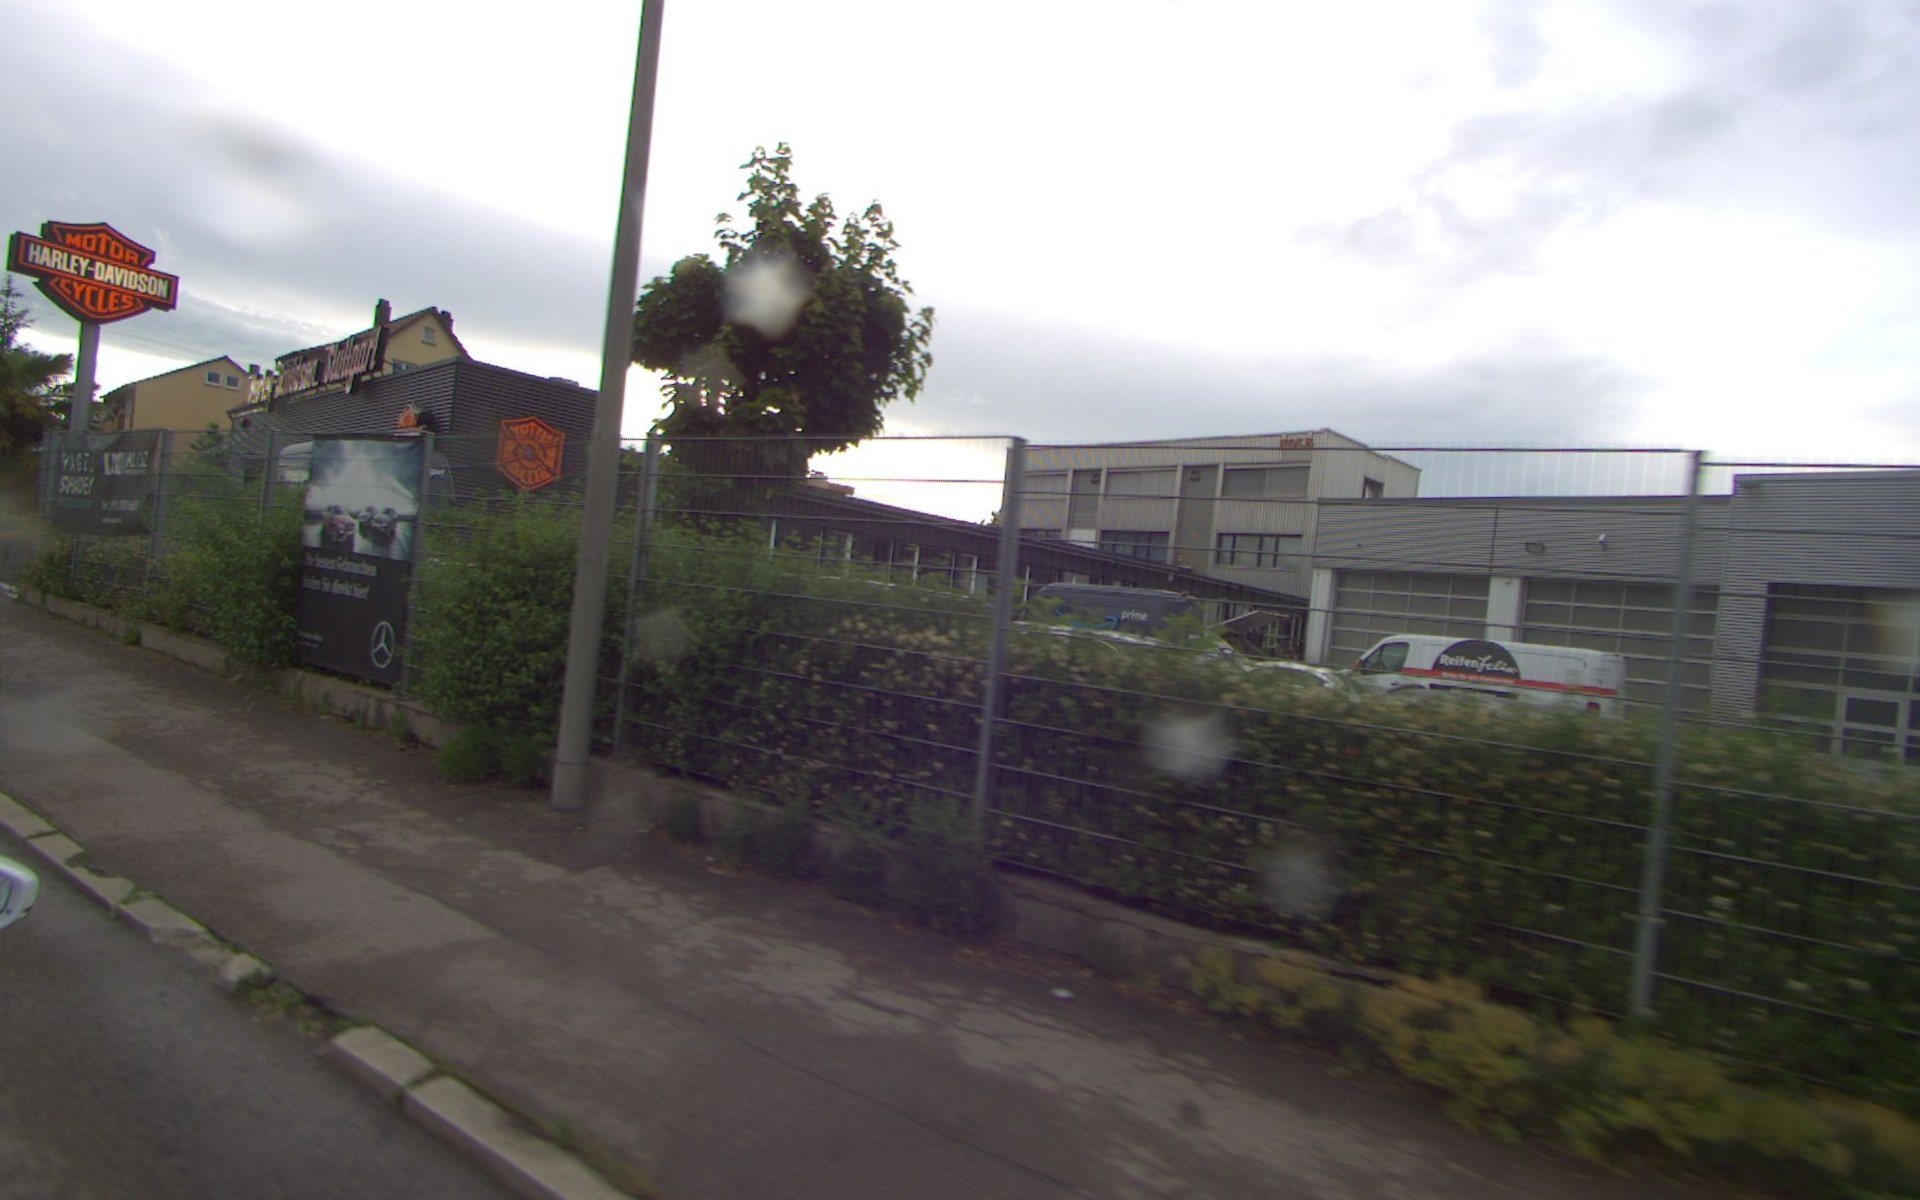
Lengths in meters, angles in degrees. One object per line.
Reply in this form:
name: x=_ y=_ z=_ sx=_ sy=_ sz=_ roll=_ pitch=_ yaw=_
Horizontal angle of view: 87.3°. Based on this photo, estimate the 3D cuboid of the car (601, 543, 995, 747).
car: x=-1.868 y=0.548 z=11.797 sx=4.069 sy=1.861 sz=1.761 roll=7 pitch=0 yaw=-28

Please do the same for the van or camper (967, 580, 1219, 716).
van or camper: x=3.117 y=1.088 z=24.669 sx=2.327 sy=2.588 sz=5.667 roll=7 pitch=-1 yaw=-45

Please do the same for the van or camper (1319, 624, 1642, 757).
van or camper: x=10.392 y=1.749 z=20.479 sx=1.989 sy=1.959 sz=5.367 roll=10 pitch=-4 yaw=-42

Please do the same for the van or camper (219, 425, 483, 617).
van or camper: x=-10.792 y=-1.381 z=17.511 sx=6.501 sy=2.625 sz=2.037 roll=6 pitch=0 yaw=43

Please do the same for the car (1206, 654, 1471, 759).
car: x=7.319 y=2.042 z=19.684 sx=4.404 sy=1.435 sz=1.891 roll=4 pitch=-5 yaw=40
